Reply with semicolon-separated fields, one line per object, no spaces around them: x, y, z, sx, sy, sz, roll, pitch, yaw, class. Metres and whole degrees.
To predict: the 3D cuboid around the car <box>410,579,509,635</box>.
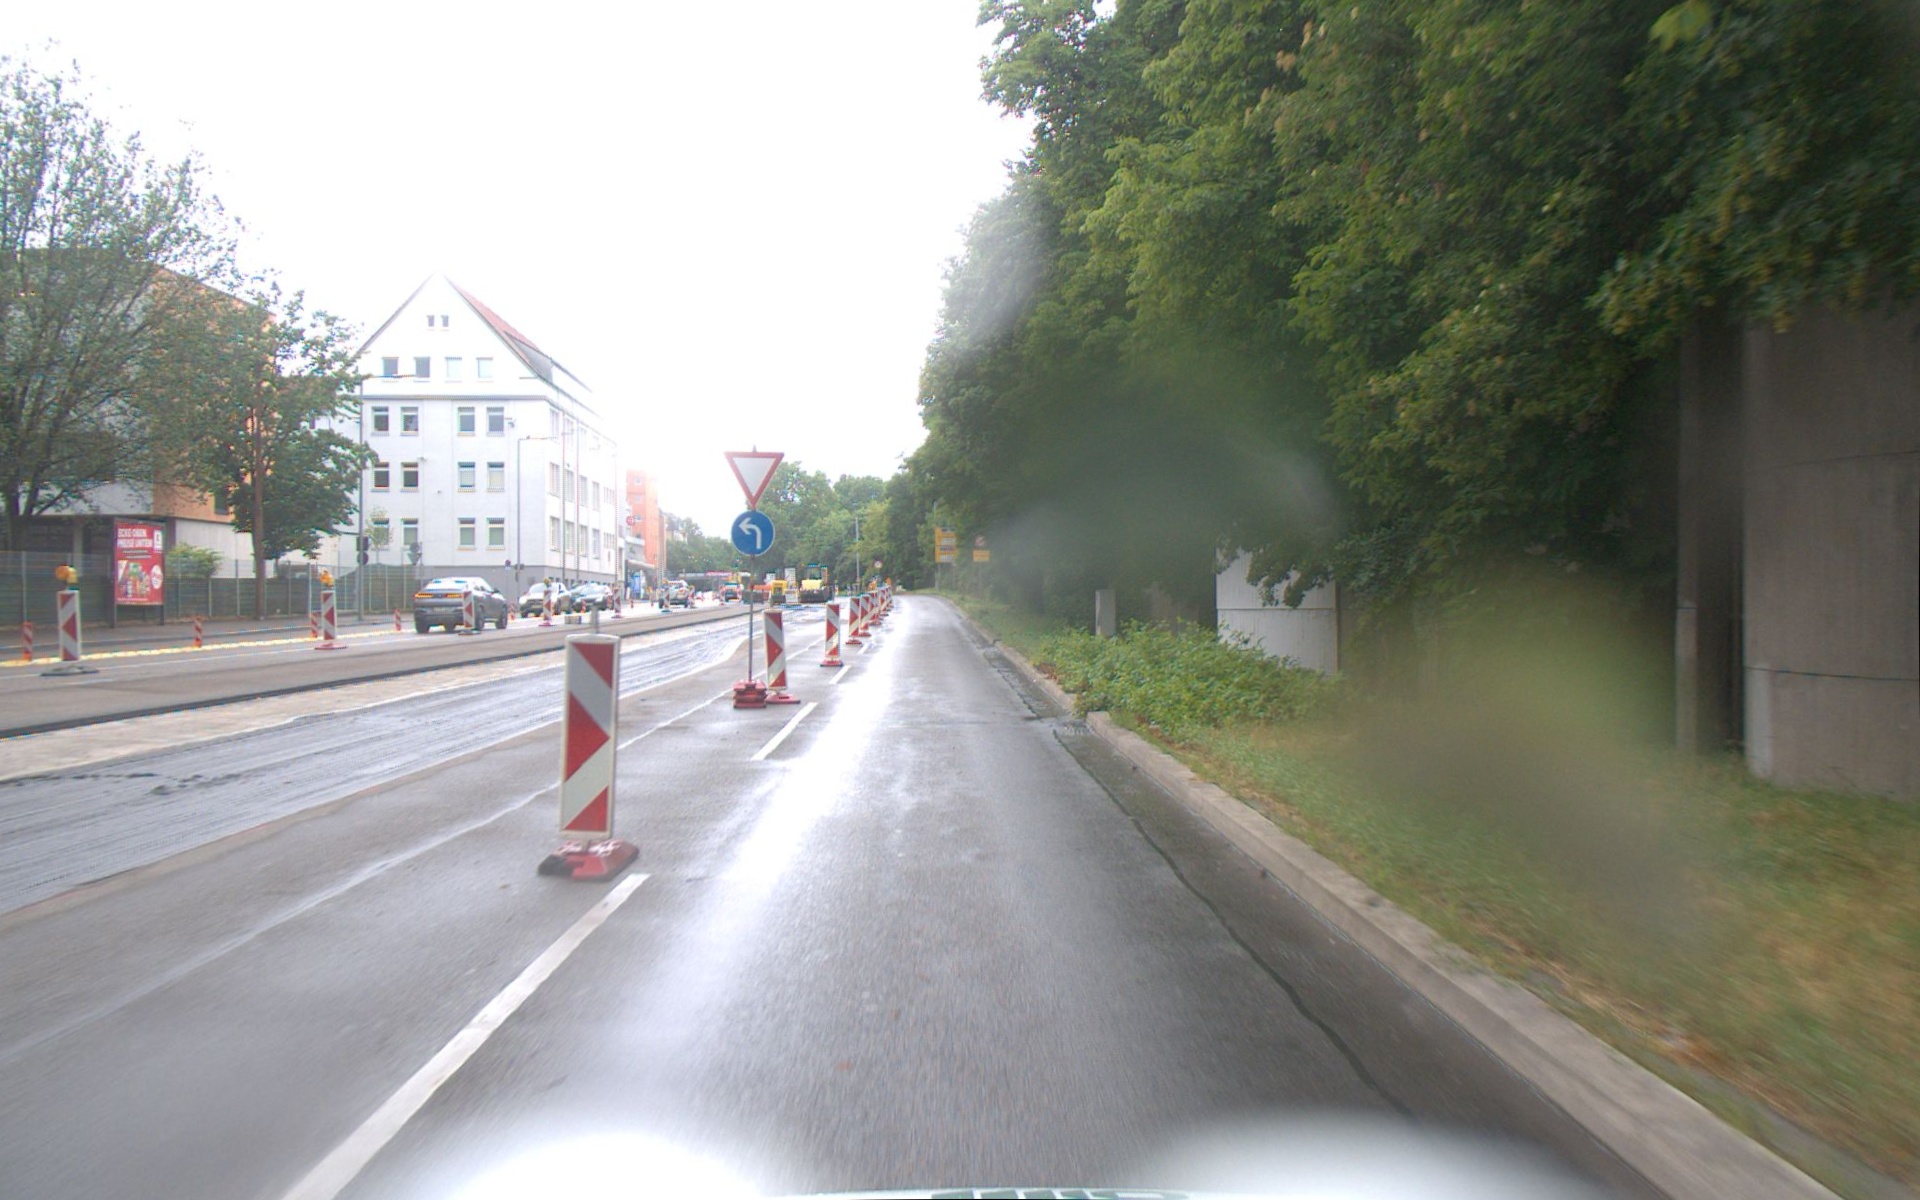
-15.689;0.217;52.072;1.854;1.679;4.395;0;0;-1;car

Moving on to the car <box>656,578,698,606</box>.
-17.145;-0.462;100.477;1.854;1.679;4.395;0;0;-1;car

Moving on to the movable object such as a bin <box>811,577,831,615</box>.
-11.543;-0.353;137.167;1.437;3.061;3.722;-2;1;-3;movable object such as a bin

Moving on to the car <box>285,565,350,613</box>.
-30.081;-0.520;77.526;1.578;2.208;3.998;0;0;-2;car

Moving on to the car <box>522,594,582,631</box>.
-19.628;0.565;79.712;1.821;1.647;4.364;-2;0;-1;car

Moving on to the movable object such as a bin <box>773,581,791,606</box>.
-12.166;-0.446;113.348;1.061;1.673;2.438;0;0;-2;movable object such as a bin

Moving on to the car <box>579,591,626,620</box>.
-19.895;0.309;92.287;1.821;1.501;3.731;-2;0;-1;car

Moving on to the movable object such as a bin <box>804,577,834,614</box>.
-10.338;-0.370;121.922;1.864;2.654;5.381;-1;1;-2;movable object such as a bin
